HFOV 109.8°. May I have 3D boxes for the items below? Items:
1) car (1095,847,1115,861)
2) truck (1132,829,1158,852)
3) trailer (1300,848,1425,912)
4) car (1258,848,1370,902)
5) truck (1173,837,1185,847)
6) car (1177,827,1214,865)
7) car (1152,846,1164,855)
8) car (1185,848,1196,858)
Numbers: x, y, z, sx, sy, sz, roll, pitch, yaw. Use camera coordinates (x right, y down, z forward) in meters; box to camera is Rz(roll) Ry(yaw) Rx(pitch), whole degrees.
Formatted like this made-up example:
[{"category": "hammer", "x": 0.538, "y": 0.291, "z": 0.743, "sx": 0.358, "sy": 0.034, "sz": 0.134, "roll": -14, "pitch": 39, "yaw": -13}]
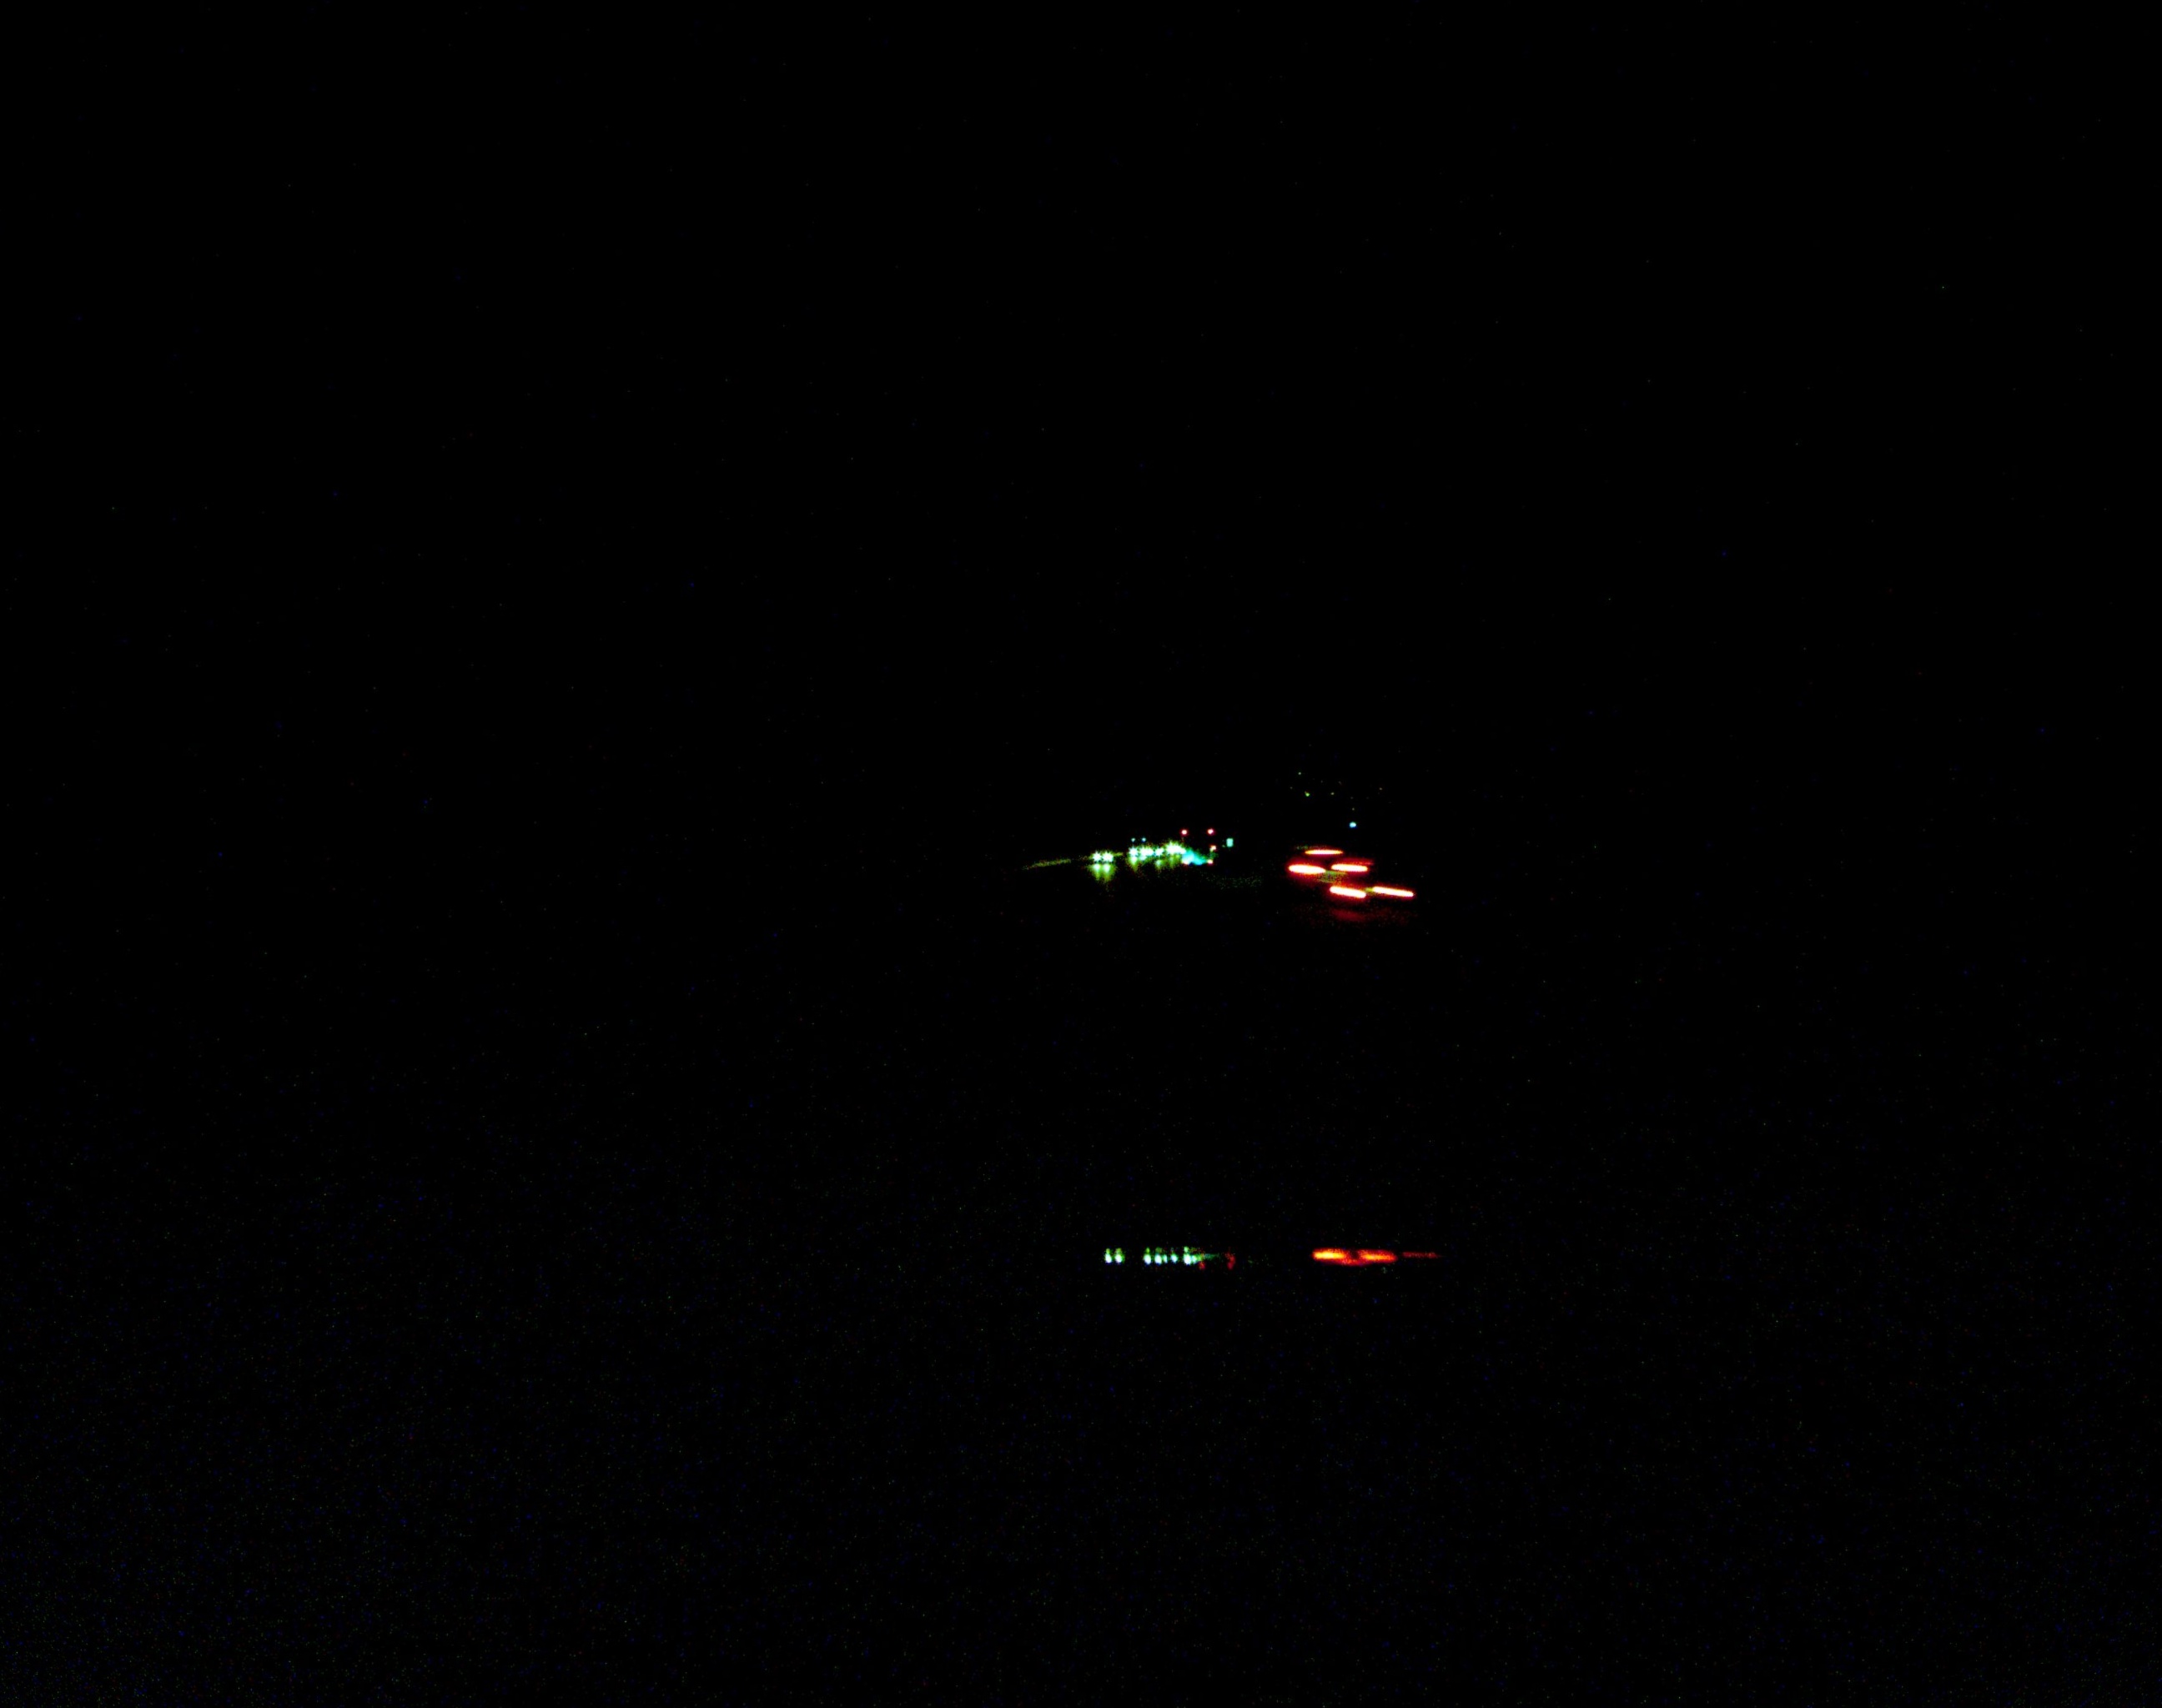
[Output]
[{"category": "car", "x": 2.796, "y": -0.021, "z": 86.440, "sx": 1.811, "sy": 1.508, "sz": 3.938, "roll": -1, "pitch": 0, "yaw": 8}, {"category": "truck", "x": 12.900, "y": -2.801, "z": 150.506, "sx": 2.969, "sy": 4.251, "sz": 17.156, "roll": -1, "pitch": 2, "yaw": 12}, {"category": "trailer", "x": 6.903, "y": 0.584, "z": 18.978, "sx": 1.888, "sy": 1.418, "sz": 3.350, "roll": -1, "pitch": 0, "yaw": 0}, {"category": "car", "x": 6.922, "y": 0.566, "z": 23.150, "sx": 1.917, "sy": 1.418, "sz": 4.952, "roll": -1, "pitch": 0, "yaw": 0}, {"category": "truck", "x": 24.662, "y": -3.016, "z": 190.656, "sx": 2.424, "sy": 2.410, "sz": 7.097, "roll": -1, "pitch": 1, "yaw": 13}, {"category": "car", "x": 9.782, "y": -0.754, "z": 65.502, "sx": 2.491, "sy": 3.088, "sz": 7.385, "roll": -1, "pitch": 2, "yaw": 4}, {"category": "car", "x": 13.909, "y": -0.605, "z": 136.994, "sx": 1.811, "sy": 1.508, "sz": 3.938, "roll": -1, "pitch": 0, "yaw": 10}, {"category": "car", "x": 16.615, "y": -0.166, "z": 115.136, "sx": 1.687, "sy": 1.450, "sz": 4.202, "roll": -1, "pitch": 1, "yaw": 9}]
